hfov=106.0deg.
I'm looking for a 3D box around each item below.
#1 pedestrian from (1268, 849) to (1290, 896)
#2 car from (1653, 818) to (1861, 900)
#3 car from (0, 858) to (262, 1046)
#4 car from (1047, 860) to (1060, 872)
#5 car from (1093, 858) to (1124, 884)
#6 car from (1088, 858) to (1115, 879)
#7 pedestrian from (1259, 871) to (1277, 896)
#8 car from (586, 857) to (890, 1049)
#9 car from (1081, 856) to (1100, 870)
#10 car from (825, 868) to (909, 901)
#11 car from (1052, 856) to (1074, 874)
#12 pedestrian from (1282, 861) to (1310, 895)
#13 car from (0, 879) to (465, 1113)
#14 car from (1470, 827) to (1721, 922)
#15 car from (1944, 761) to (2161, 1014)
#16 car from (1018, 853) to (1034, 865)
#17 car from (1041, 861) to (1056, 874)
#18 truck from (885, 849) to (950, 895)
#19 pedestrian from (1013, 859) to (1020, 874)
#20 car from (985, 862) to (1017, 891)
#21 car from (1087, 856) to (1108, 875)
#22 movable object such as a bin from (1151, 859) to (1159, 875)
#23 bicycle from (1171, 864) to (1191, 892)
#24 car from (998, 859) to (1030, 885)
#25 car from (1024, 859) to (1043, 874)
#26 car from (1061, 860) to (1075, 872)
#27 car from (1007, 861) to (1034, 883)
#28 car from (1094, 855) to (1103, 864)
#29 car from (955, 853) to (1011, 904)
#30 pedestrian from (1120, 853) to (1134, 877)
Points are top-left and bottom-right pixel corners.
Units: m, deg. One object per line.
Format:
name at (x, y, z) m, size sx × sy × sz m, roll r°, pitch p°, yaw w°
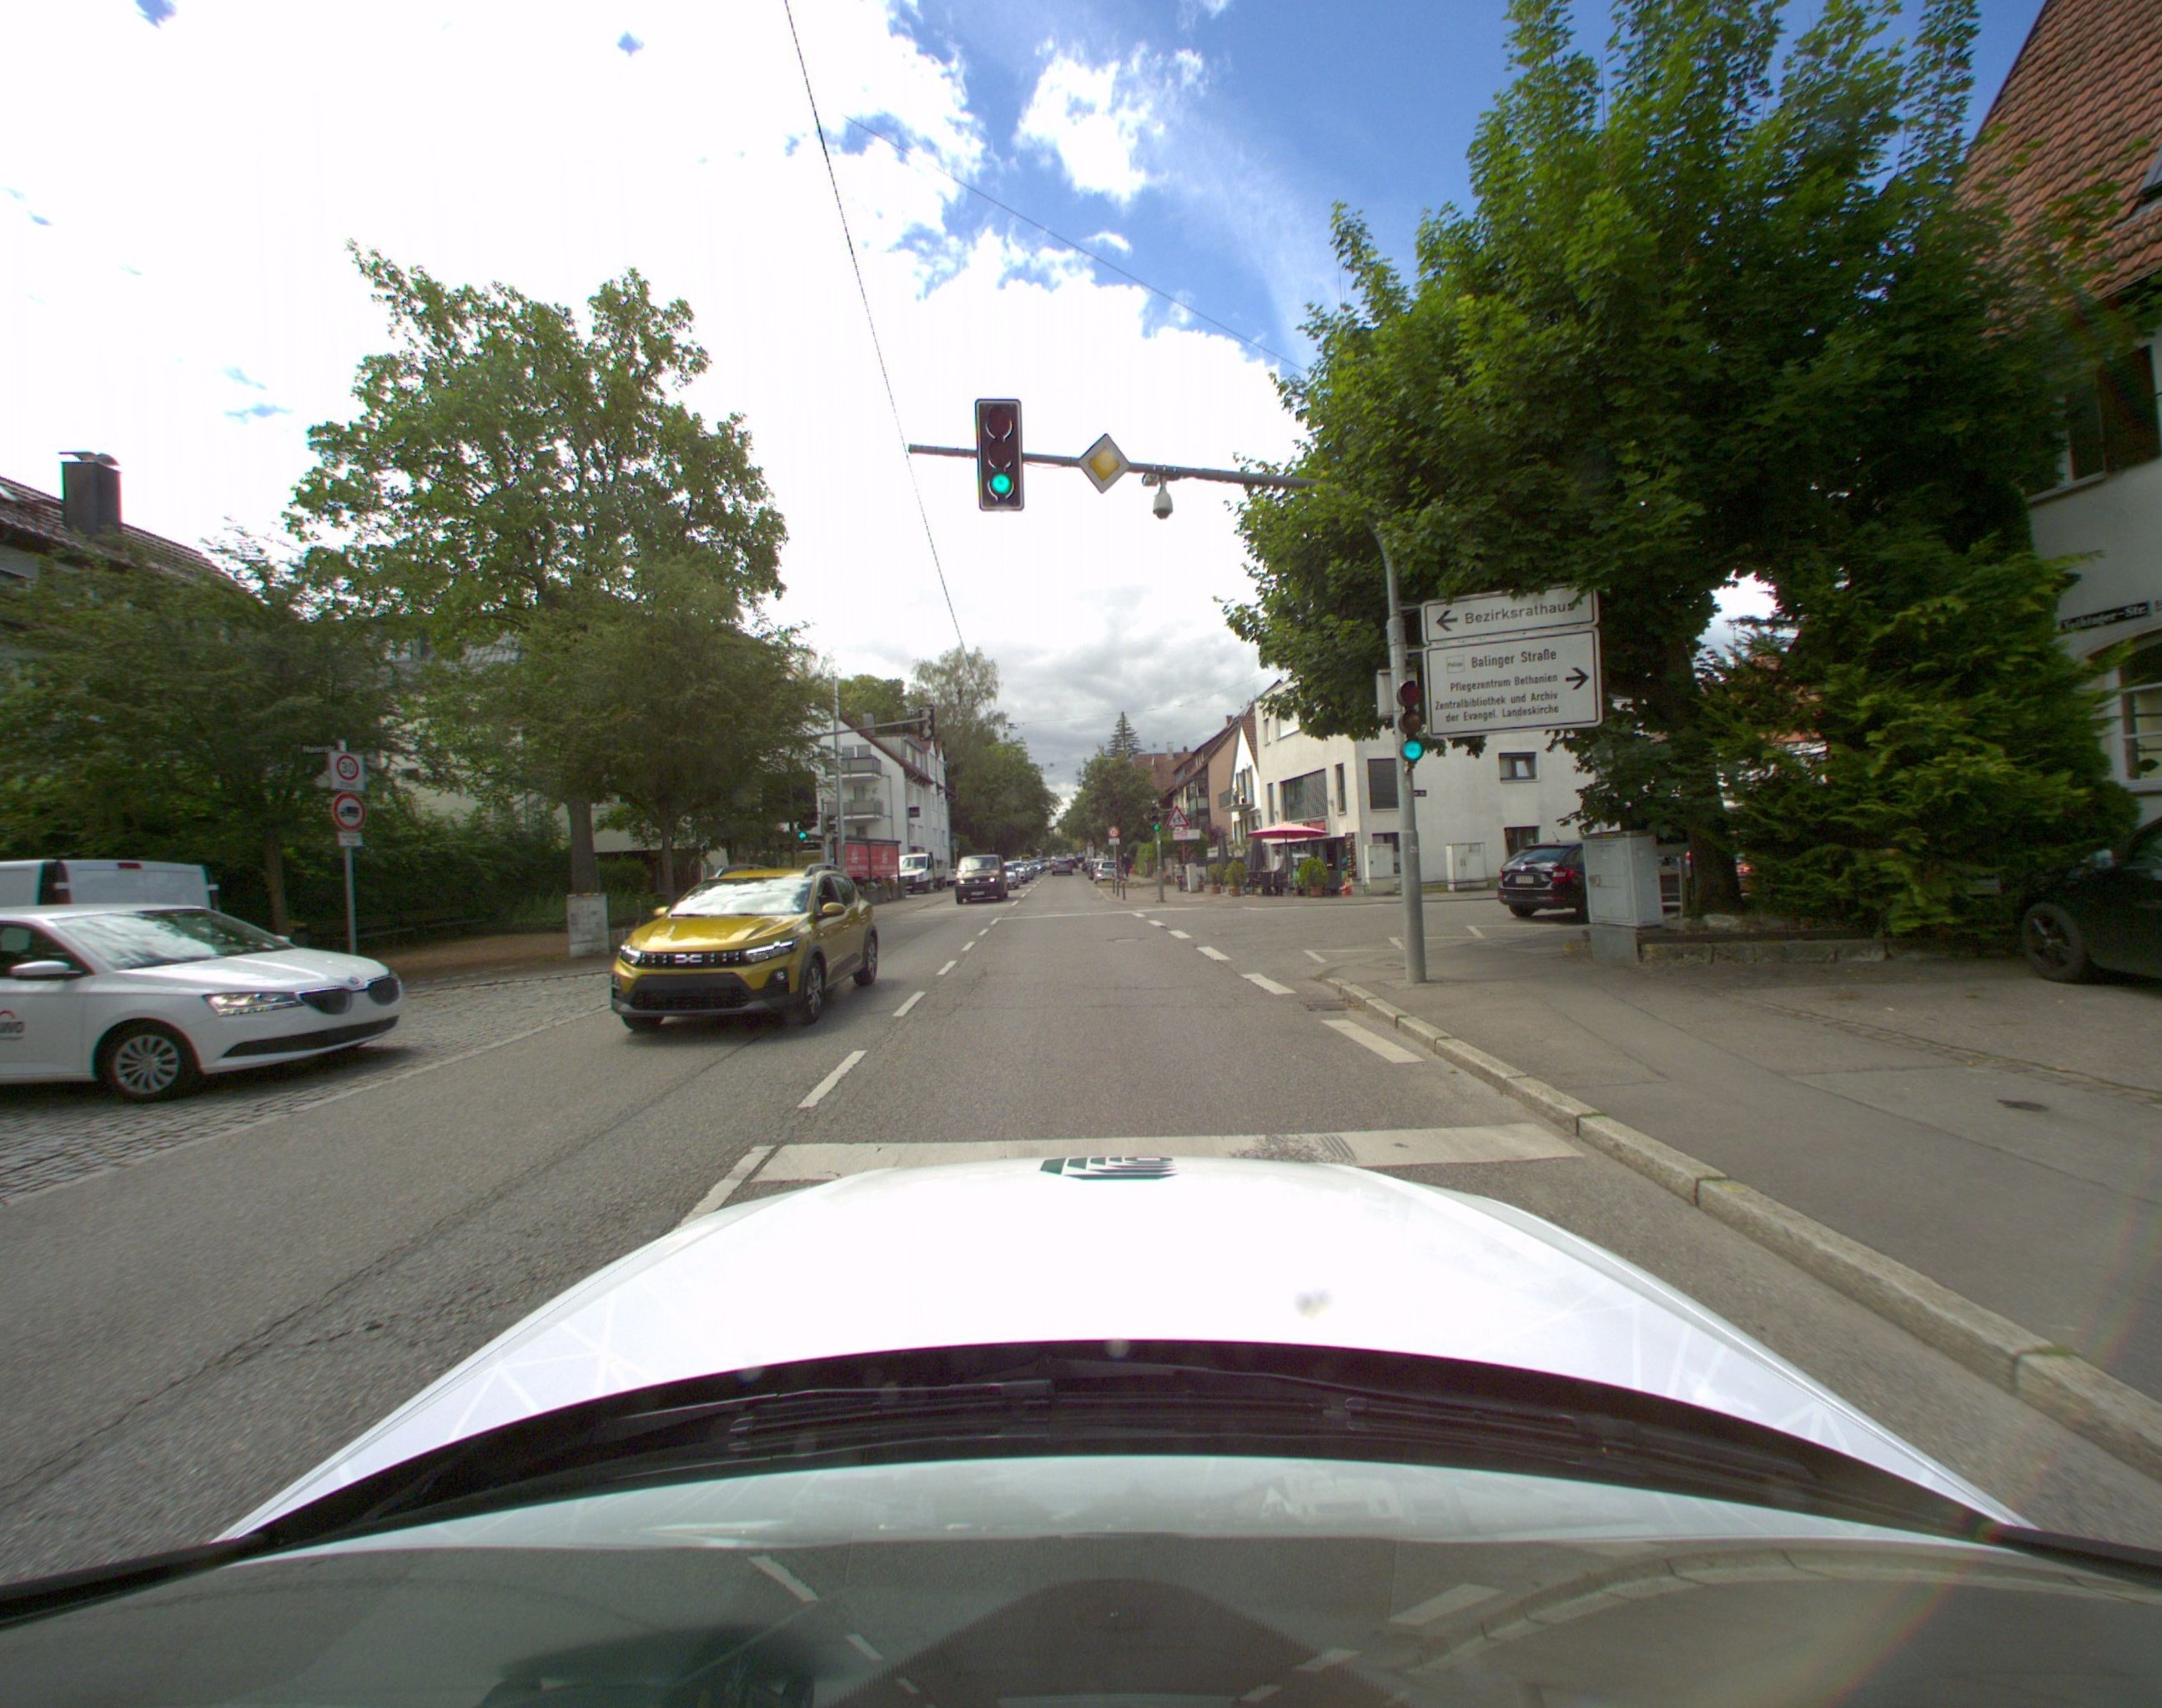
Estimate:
pedestrian at (7.586, 0.705, 31.249) m, size 0.429 × 1.762 × 0.671 m, roll -2°, pitch -1°, yaw -22°
car at (14.116, 0.095, 17.065) m, size 3.420 × 1.486 × 1.644 m, roll -2°, pitch -1°, yaw -15°
car at (-13.322, 1.145, 9.763) m, size 4.612 × 2.009 × 2.092 m, roll -2°, pitch 0°, yaw -5°
car at (-4.265, 1.884, 126.590) m, size 1.780 × 1.591 × 4.152 m, roll -5°, pitch 0°, yaw -1°
car at (1.670, 1.000, 50.963) m, size 1.696 × 1.480 × 4.870 m, roll -1°, pitch 0°, yaw -1°
car at (1.459, 1.049, 59.553) m, size 1.729 × 1.429 × 4.880 m, roll 0°, pitch 0°, yaw -1°
pedestrian at (7.146, 1.118, 31.184) m, size 0.420 × 0.938 × 0.494 m, roll -2°, pitch -1°, yaw -22°
car at (-3.419, 0.861, 9.024) m, size 1.724 × 1.538 × 3.997 m, roll -2°, pitch 0°, yaw -2°
car at (1.021, 1.012, 89.643) m, size 1.797 × 1.445 × 4.883 m, roll -1°, pitch 0°, yaw -2°
car at (-10.552, 1.493, 40.327) m, size 3.687 × 1.425 × 1.802 m, roll -2°, pitch 0°, yaw -5°
car at (-1.640, 0.996, 75.096) m, size 1.970 × 1.513 × 4.266 m, roll 0°, pitch 0°, yaw 0°
pedestrian at (7.085, 0.796, 26.847) m, size 0.569 × 1.089 × 0.628 m, roll -2°, pitch -1°, yaw -27°
car at (-7.936, 1.084, 6.702) m, size 4.200 × 1.513 × 1.821 m, roll -2°, pitch 1°, yaw -2°
car at (9.782, 0.340, 15.523) m, size 4.183 × 1.415 × 1.768 m, roll -4°, pitch 1°, yaw -18°
car at (7.480, 0.156, 4.752) m, size 1.736 × 1.517 × 4.102 m, roll -7°, pitch 0°, yaw 23°
car at (-9.698, 0.919, 144.179) m, size 2.138 × 1.981 × 4.932 m, roll -3°, pitch -1°, yaw 2°
car at (-4.618, 1.904, 115.696) m, size 1.781 × 1.648 × 4.489 m, roll -5°, pitch 0°, yaw -1°
truck at (-9.462, 1.030, 47.772) m, size 2.216 × 2.380 × 6.328 m, roll -3°, pitch -1°, yaw 2°
pedestrian at (-8.223, 1.600, 103.515) m, size 0.713 × 1.762 × 1.119 m, roll -2°, pitch -1°, yaw -6°
car at (-4.531, 1.241, 46.734) m, size 1.614 × 1.486 × 3.808 m, roll -3°, pitch 0°, yaw -3°
car at (1.428, 0.974, 70.859) m, size 1.617 × 1.507 × 3.777 m, roll -3°, pitch 0°, yaw -1°
movable object such as a bin at (5.111, 0.870, 56.461) m, size 0.521 × 1.080 × 0.605 m, roll -3°, pitch -1°, yaw 4°
bicycle at (4.320, 1.013, 35.379) m, size 0.717 × 1.150 × 2.216 m, roll -3°, pitch -1°, yaw 4°
car at (-4.574, 1.188, 55.983) m, size 1.801 × 1.571 × 4.157 m, roll -5°, pitch 0°, yaw -1°
car at (-5.025, 1.307, 87.060) m, size 1.755 × 1.439 × 3.968 m, roll -5°, pitch 0°, yaw -1°
car at (-1.800, 1.584, 111.649) m, size 1.810 × 1.501 × 4.266 m, roll -2°, pitch 0°, yaw 0°
car at (-4.713, 1.397, 63.873) m, size 1.724 × 1.502 × 4.373 m, roll -5°, pitch 0°, yaw -2°
car at (4.133, 1.254, 189.738) m, size 1.987 × 2.014 × 4.000 m, roll -3°, pitch -1°, yaw 1°
car at (-3.997, 0.966, 33.889) m, size 1.873 × 1.912 × 4.746 m, roll -2°, pitch 0°, yaw -3°
pedestrian at (3.348, 0.772, 59.517) m, size 0.877 × 1.712 × 0.842 m, roll -3°, pitch -1°, yaw 0°
